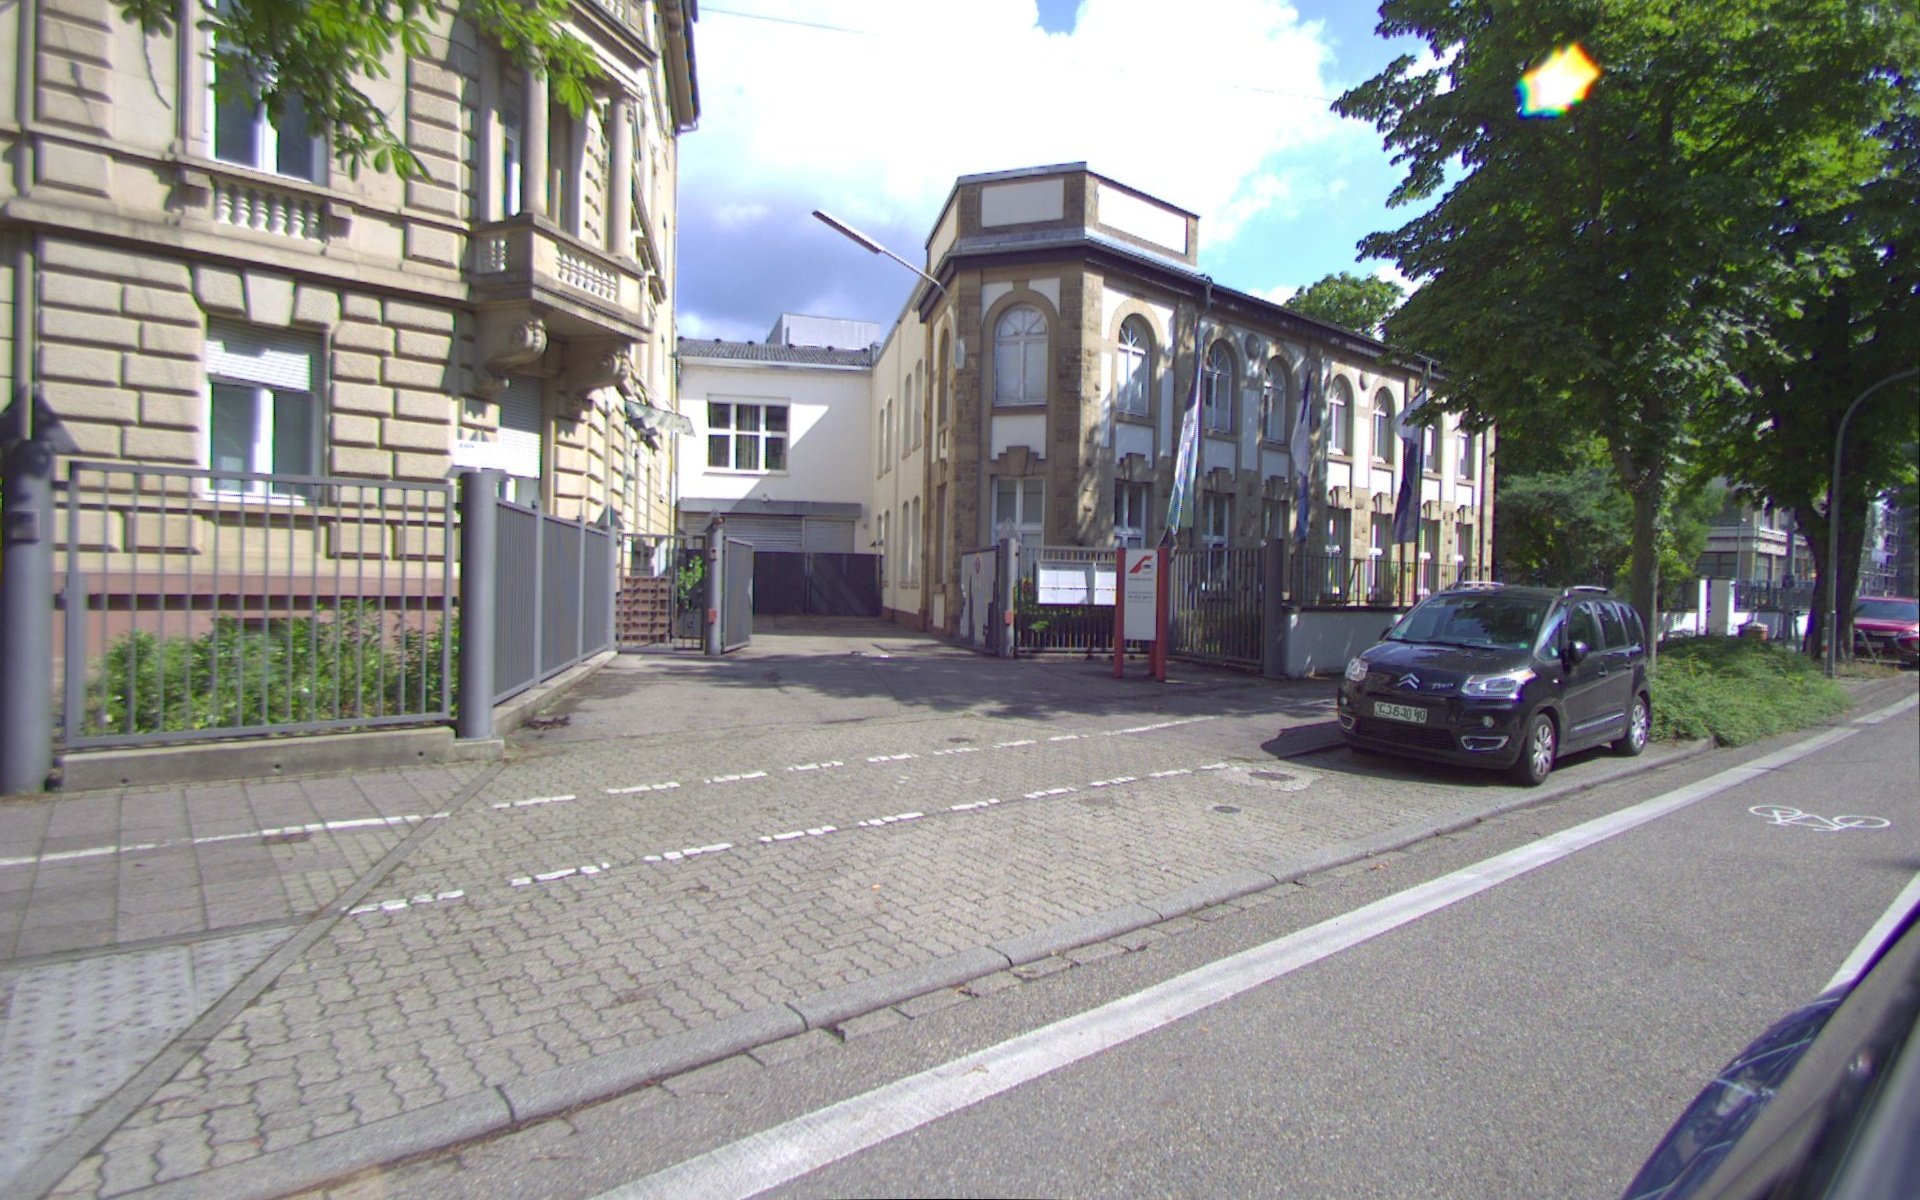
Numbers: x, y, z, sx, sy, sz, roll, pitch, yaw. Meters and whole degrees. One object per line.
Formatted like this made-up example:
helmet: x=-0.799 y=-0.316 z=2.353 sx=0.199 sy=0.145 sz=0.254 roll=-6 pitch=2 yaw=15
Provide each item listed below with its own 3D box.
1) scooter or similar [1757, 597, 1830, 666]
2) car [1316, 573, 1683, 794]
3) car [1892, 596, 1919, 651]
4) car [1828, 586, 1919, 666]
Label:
scooter or similar: x=15.903 y=0.608 z=19.308 sx=1.233 sy=1.252 sz=0.343 roll=2 pitch=3 yaw=-16
car: x=5.288 y=0.604 z=9.681 sx=4.130 sy=1.610 sz=1.700 roll=0 pitch=3 yaw=-41
car: x=27.981 y=0.691 z=28.917 sx=3.535 sy=1.445 sz=1.603 roll=-1 pitch=5 yaw=-43
car: x=22.438 y=0.575 z=24.296 sx=4.209 sy=1.696 sz=1.879 roll=0 pitch=3 yaw=-42
